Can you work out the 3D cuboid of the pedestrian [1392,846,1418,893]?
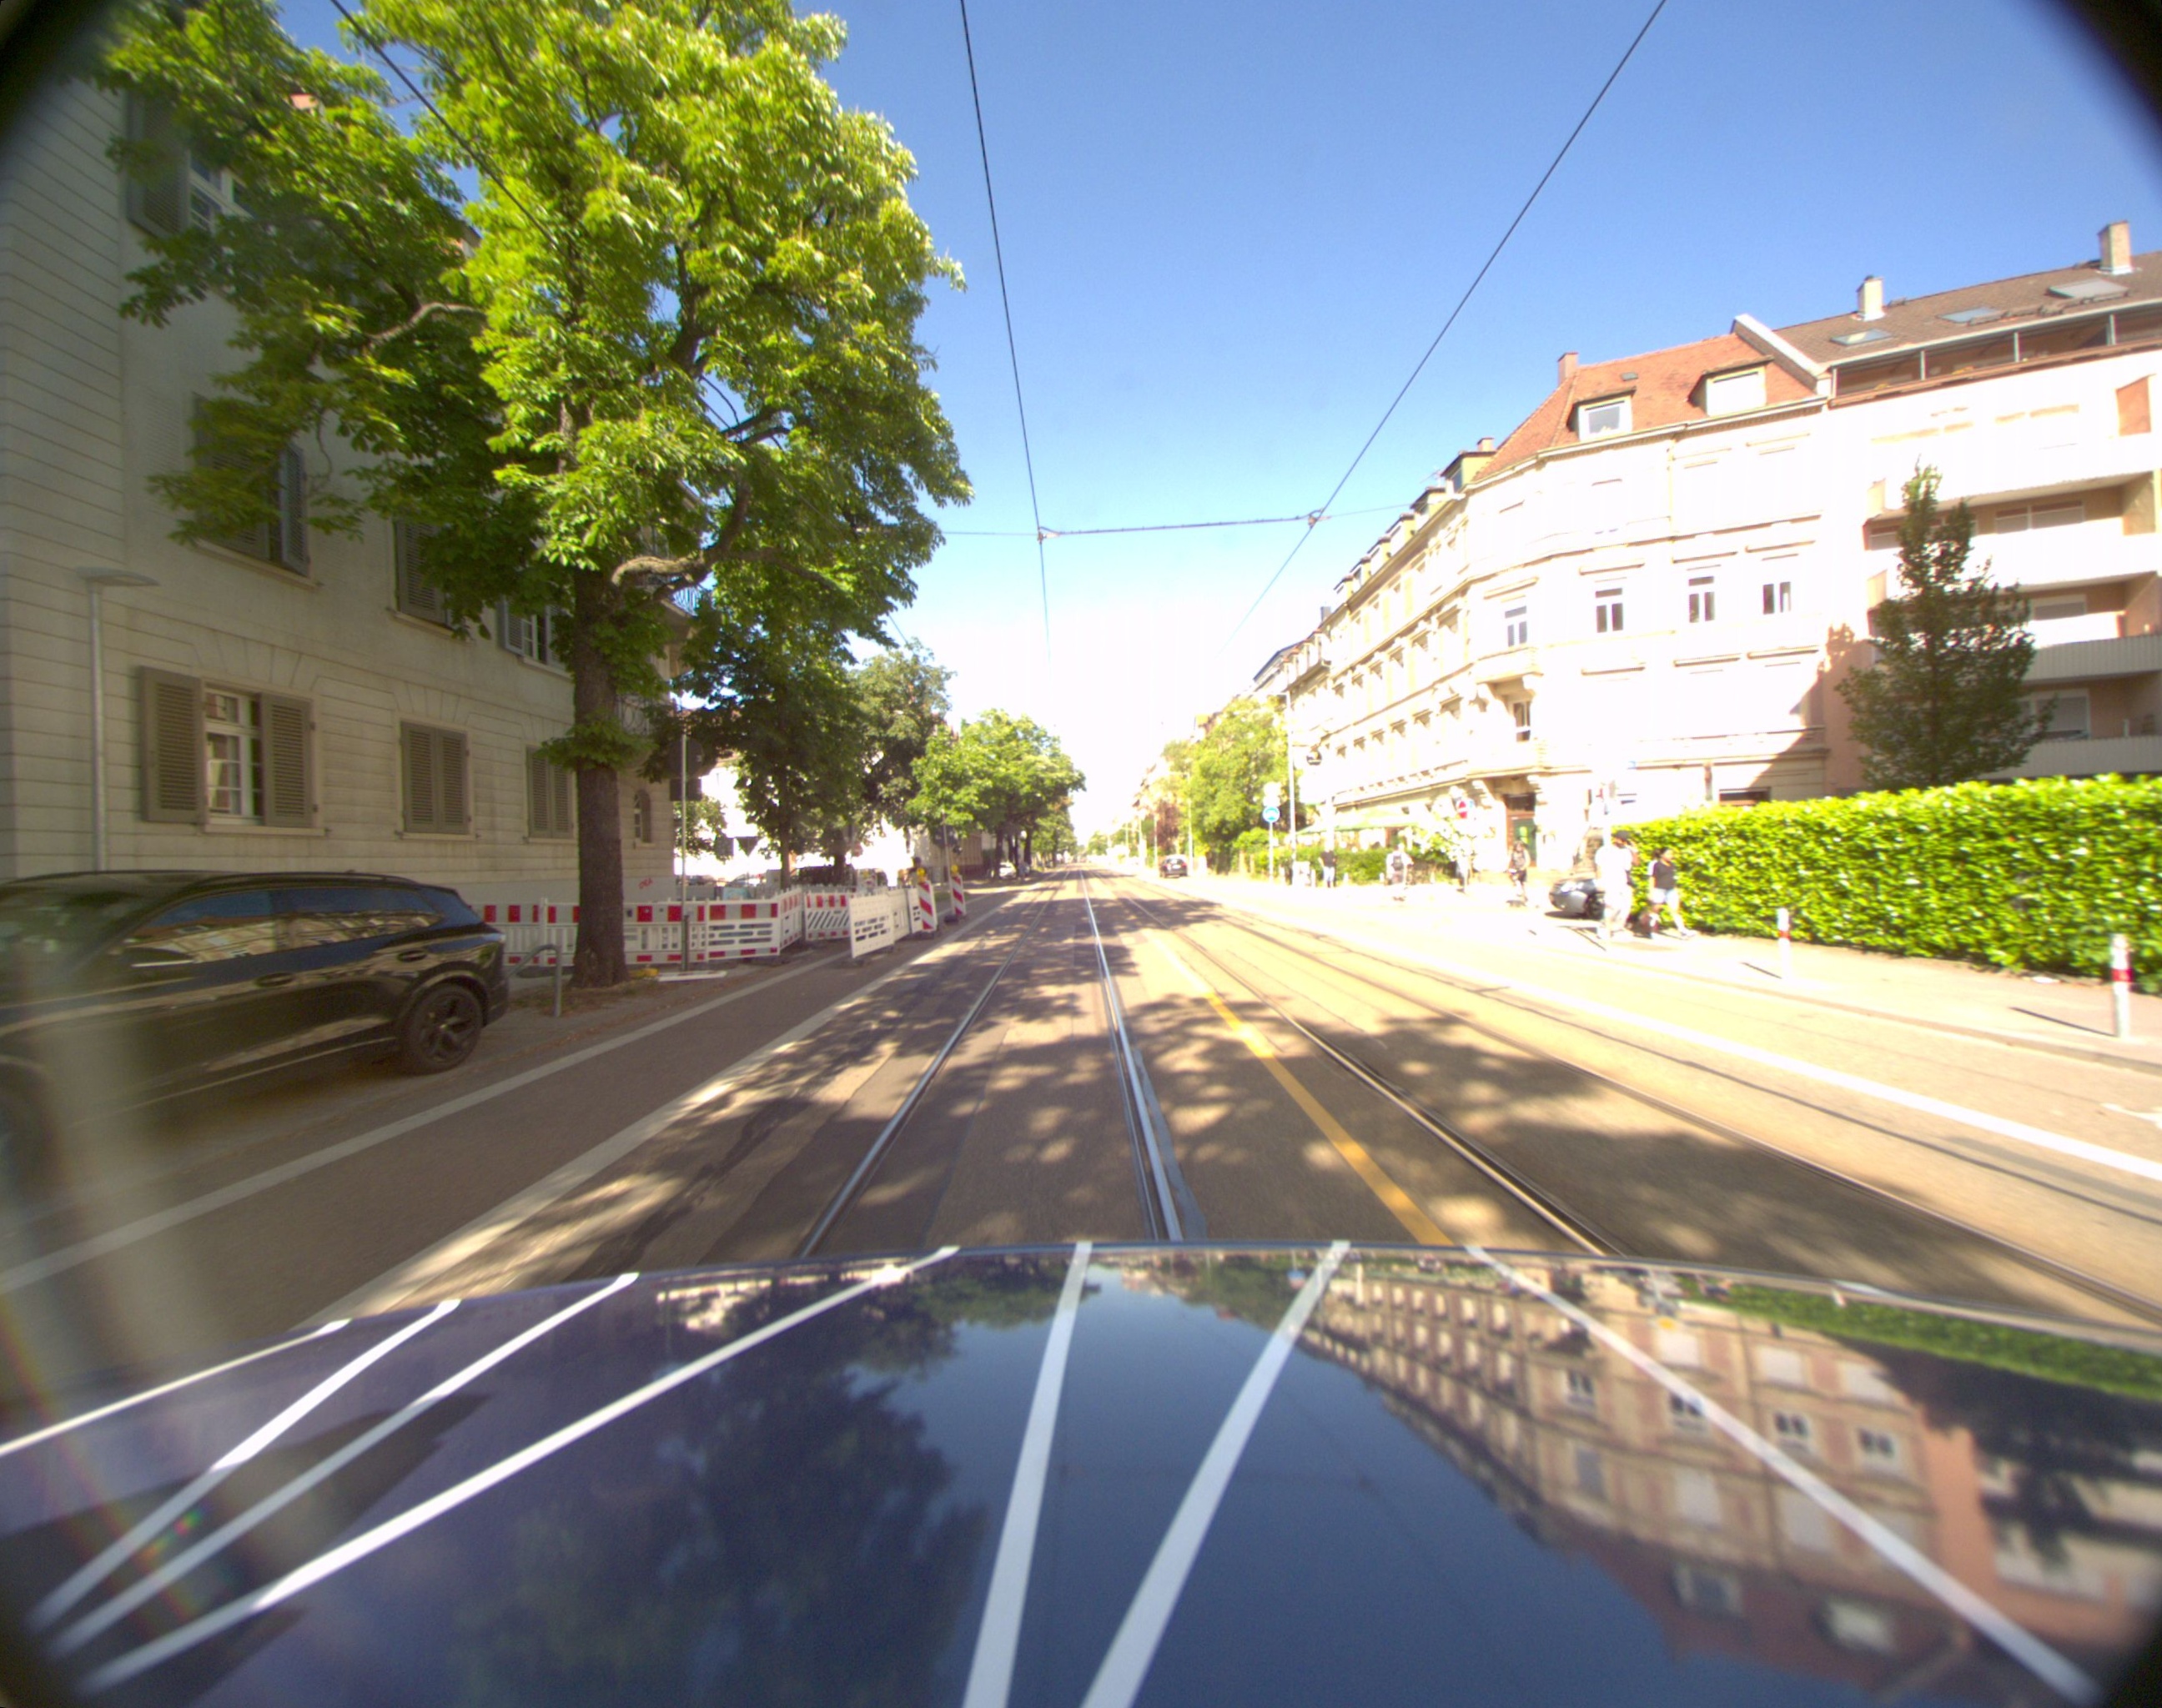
[{"bbox_3d":[11.708,0.554,27.451,0.705,1.645,0.834,-1,2,32],"label":"pedestrian"}]

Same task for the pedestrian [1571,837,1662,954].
[{"bbox_3d":[8.316,0.627,11.834,0.756,1.704,0.808,-4,0,1],"label":"pedestrian"}]

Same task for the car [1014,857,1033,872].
[{"bbox_3d":[-6.171,1.135,82.167,1.824,1.475,4.748,-1,0,-3],"label":"car"}]

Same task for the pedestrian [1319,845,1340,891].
[{"bbox_3d":[9.788,0.541,29.955,0.558,1.771,0.538,-2,1,-3],"label":"pedestrian"}]

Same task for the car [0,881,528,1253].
[{"bbox_3d":[-5.940,1.056,4.584,1.815,1.616,4.584,0,0,1],"label":"car"}]

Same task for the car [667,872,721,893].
[{"bbox_3d":[-29.783,2.193,58.412,3.953,1.408,1.642,-2,2,28],"label":"car"}]

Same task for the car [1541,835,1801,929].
[{"bbox_3d":[12.376,0.576,16.278,4.045,1.797,1.794,-2,2,21],"label":"car"}]

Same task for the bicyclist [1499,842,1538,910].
[{"bbox_3d":[12.257,0.602,21.289,0.705,1.843,0.987,0,3,43],"label":"bicyclist"}]

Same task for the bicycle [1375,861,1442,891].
[{"bbox_3d":[12.717,0.844,29.588,2.244,1.038,0.876,-2,2,10],"label":"bicycle"}]

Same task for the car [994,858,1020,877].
[{"bbox_3d":[-6.121,1.123,63.537,1.705,1.463,4.214,-1,0,0],"label":"car"}]

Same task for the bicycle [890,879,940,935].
[{"bbox_3d":[-4.194,1.318,19.375,0.763,1.235,2.096,-3,0,0],"label":"bicycle"}]

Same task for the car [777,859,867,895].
[{"bbox_3d":[-15.596,1.369,45.737,5.054,1.880,2.003,-2,2,26],"label":"car"}]

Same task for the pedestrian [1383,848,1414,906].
[{"bbox_3d":[9.829,0.699,23.527,0.692,1.758,0.867,-2,1,13],"label":"pedestrian"}]

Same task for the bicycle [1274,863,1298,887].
[{"bbox_3d":[9.499,0.947,35.309,0.515,1.032,2.223,-2,0,0],"label":"bicycle"}]

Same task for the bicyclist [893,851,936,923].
[{"bbox_3d":[-4.221,0.822,19.310,0.763,1.728,1.046,-3,0,0],"label":"bicyclist"}]

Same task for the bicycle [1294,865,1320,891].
[{"bbox_3d":[9.350,0.973,31.462,0.528,0.975,1.777,-2,0,0],"label":"bicycle"}]

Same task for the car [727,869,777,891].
[{"bbox_3d":[-24.178,1.912,55.848,3.493,1.491,1.441,-2,2,28],"label":"car"}]

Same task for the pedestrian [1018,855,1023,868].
[{"bbox_3d":[-9.473,1.119,119.426,0.743,2.002,0.687,-2,1,-8],"label":"pedestrian"}]

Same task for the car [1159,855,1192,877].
[{"bbox_3d":[7.071,0.898,57.201,1.869,1.567,4.588,0,0,0],"label":"car"}]

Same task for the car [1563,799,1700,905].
[{"bbox_3d":[16.458,-0.110,23.042,1.889,2.825,4.788,-2,2,17],"label":"car"}]

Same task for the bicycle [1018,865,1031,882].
[{"bbox_3d":[-3.931,1.334,53.107,0.776,1.080,2.058,-3,0,-3],"label":"bicycle"}]

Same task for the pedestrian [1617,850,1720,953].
[{"bbox_3d":[8.991,0.706,11.668,0.756,1.469,0.956,-4,0,1],"label":"pedestrian"}]

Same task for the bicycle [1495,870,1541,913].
[{"bbox_3d":[12.269,1.037,21.300,0.705,1.049,1.839,-1,2,43],"label":"bicycle"}]

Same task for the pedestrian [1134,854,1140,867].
[{"bbox_3d":[8.351,0.953,113.765,0.809,1.825,0.754,-2,0,8],"label":"pedestrian"}]

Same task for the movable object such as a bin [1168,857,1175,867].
[{"bbox_3d":[10.021,0.875,84.423,0.590,1.169,0.665,-2,0,-5],"label":"movable object such as a bin"}]

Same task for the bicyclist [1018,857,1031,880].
[{"bbox_3d":[-3.943,1.002,53.109,0.776,1.505,1.229,-3,0,-3],"label":"bicyclist"}]

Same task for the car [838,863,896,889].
[{"bbox_3d":[-14.395,1.472,51.161,3.431,1.530,1.724,-2,3,28],"label":"car"}]

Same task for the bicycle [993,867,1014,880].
[{"bbox_3d":[-5.950,1.479,58.452,1.570,0.974,0.640,-1,0,-9],"label":"bicycle"}]

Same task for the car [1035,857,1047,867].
[{"bbox_3d":[-6.107,1.175,116.627,1.761,1.458,4.613,-1,0,-3],"label":"car"}]
